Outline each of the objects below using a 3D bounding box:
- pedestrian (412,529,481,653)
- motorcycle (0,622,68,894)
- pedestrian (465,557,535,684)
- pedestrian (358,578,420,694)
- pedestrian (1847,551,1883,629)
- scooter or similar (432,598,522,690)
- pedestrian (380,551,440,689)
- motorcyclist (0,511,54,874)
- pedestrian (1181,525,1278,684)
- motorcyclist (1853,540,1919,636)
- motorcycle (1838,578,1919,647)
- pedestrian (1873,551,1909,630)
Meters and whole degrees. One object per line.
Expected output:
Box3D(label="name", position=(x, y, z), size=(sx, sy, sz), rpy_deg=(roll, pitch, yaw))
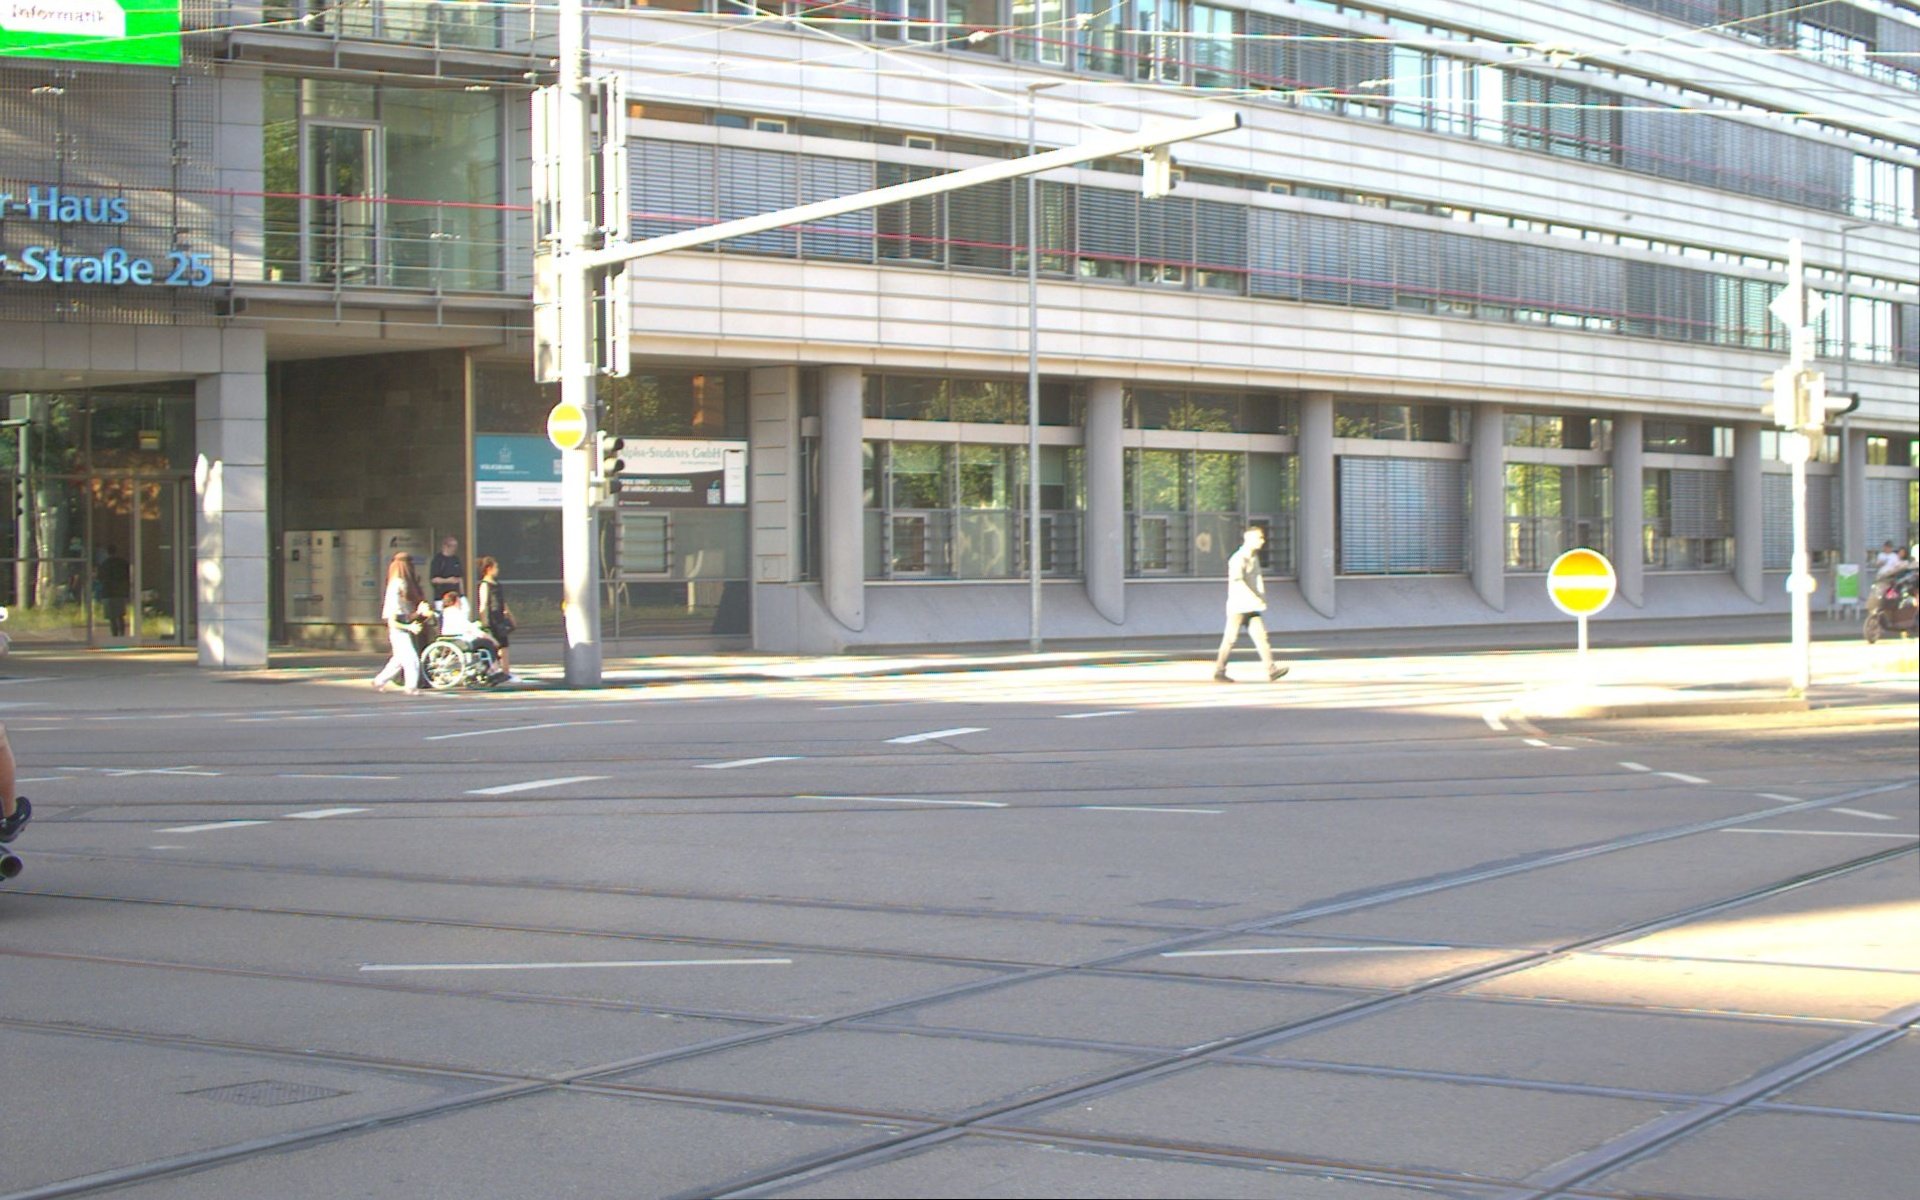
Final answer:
Box3D(label="pedestrian", position=(-7.117, -0.123, 47.636), size=(0.645, 1.709, 0.688), rpy_deg=(0, 0, 43))
Box3D(label="motorcycle", position=(-4.569, 0.675, 15.233), size=(1.005, 1.122, 2.323), rpy_deg=(1, -2, -19))
Box3D(label="pedestrian", position=(-5.857, 0.259, 43.813), size=(0.721, 1.612, 0.654), rpy_deg=(0, -1, 8))
Box3D(label="pedestrian", position=(-6.910, 0.432, 41.621), size=(0.636, 1.397, 0.546), rpy_deg=(0, 0, 2))
Box3D(label="pedestrian", position=(20.008, -0.220, 76.020), size=(0.549, 1.728, 0.640), rpy_deg=(-1, 0, 37))
Box3D(label="scooter or similar", position=(-5.979, 0.541, 42.593), size=(1.015, 1.125, 0.550), rpy_deg=(0, 0, 2))
Box3D(label="pedestrian", position=(-6.813, 0.245, 42.610), size=(0.636, 1.702, 0.581), rpy_deg=(0, 0, 2))
Box3D(label="motorcyclist", position=(-4.583, 0.380, 15.157), size=(1.022, 1.547, 1.287), rpy_deg=(1, 0, -19))
Box3D(label="pedestrian", position=(3.137, 0.062, 40.056), size=(0.884, 1.817, 0.675), rpy_deg=(-2, -2, 36))
Box3D(label="motorcyclist", position=(17.051, -0.210, 62.502), size=(1.021, 1.725, 1.457), rpy_deg=(0, -1, 42))
Box3D(label="motorcycle", position=(17.131, 0.229, 62.584), size=(0.986, 1.227, 2.935), rpy_deg=(0, -1, 42))
Box3D(label="pedestrian", position=(20.503, -0.208, 75.683), size=(0.549, 1.728, 0.640), rpy_deg=(-1, 0, 37))
